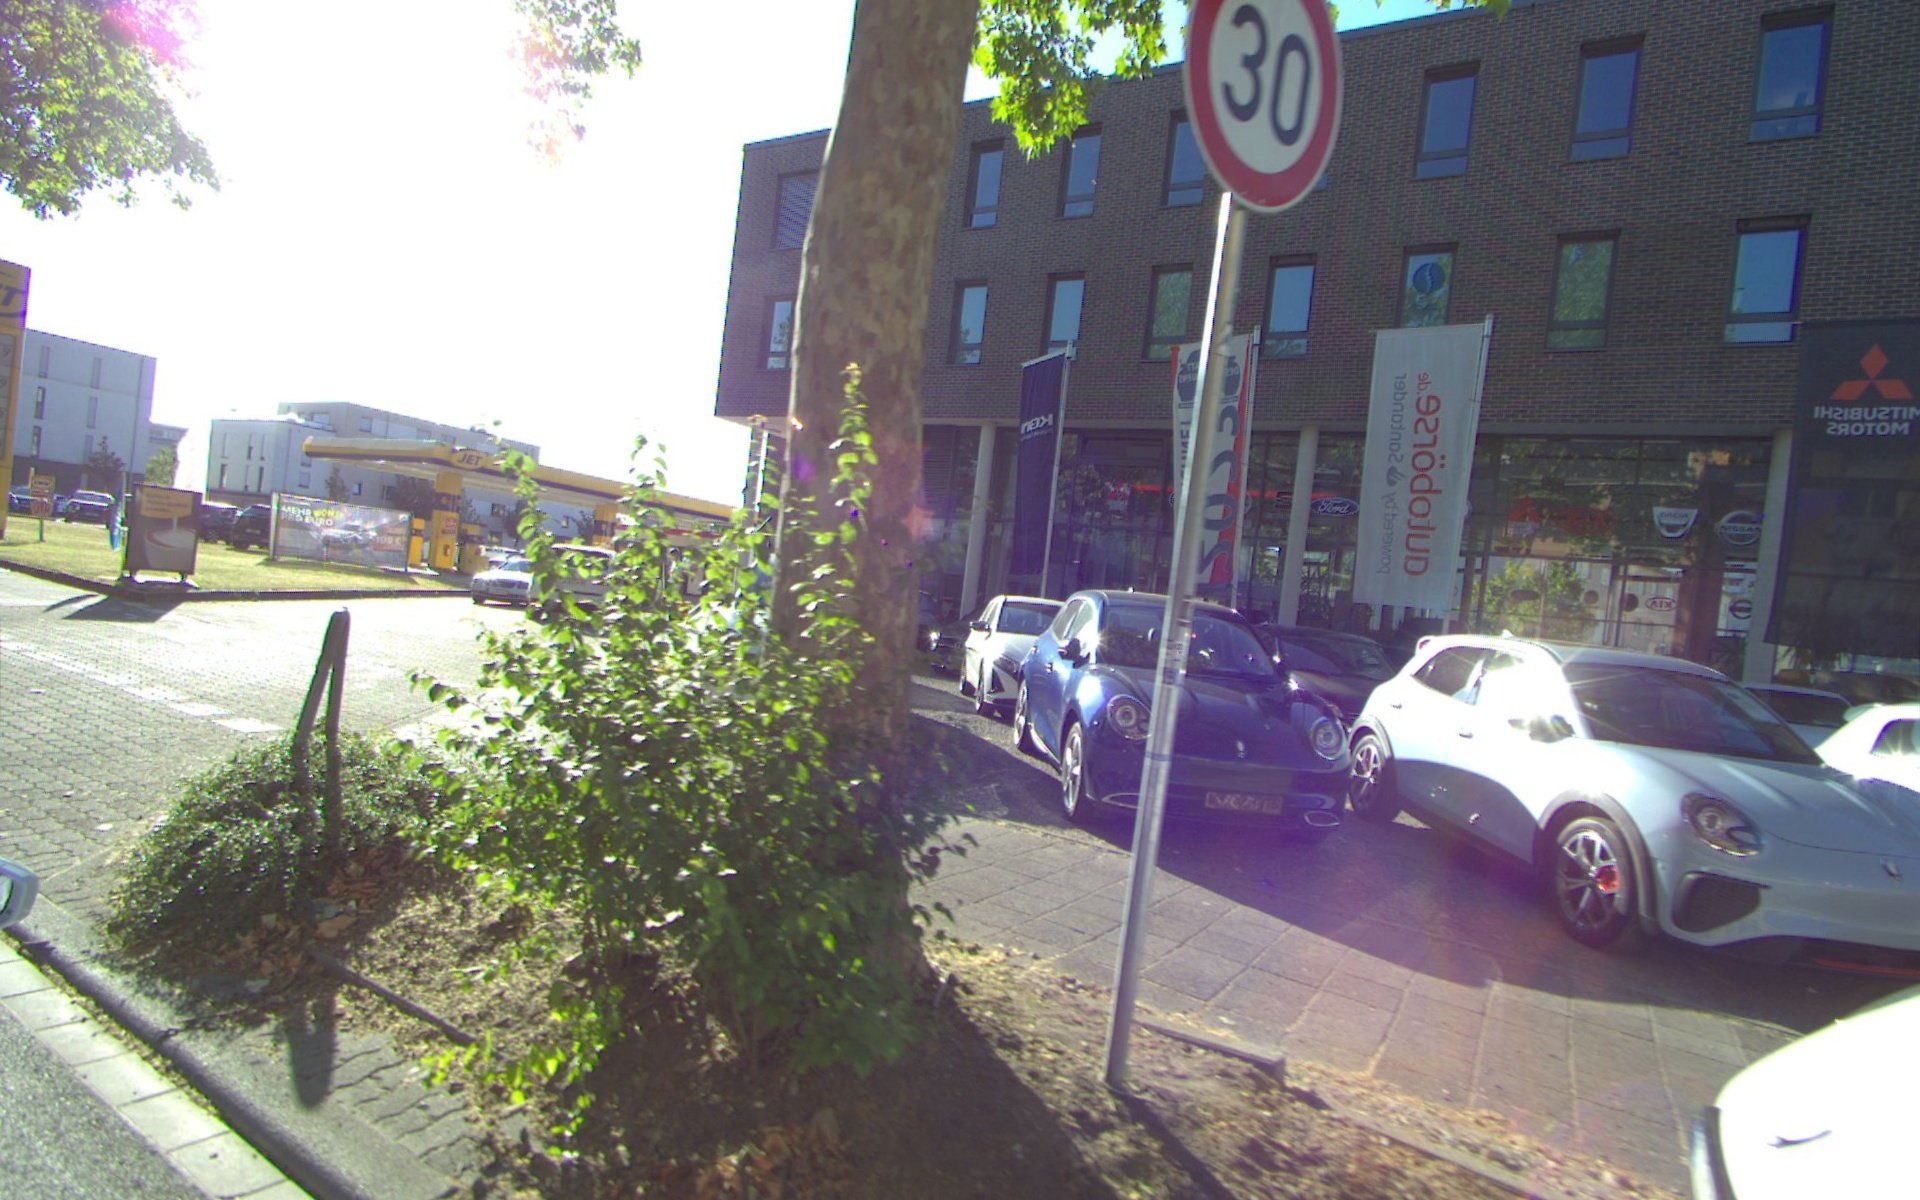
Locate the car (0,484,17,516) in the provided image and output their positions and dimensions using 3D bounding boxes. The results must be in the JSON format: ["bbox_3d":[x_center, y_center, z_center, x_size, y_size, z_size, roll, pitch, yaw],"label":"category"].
[{"bbox_3d":[-50.258,-5.318,50.391,1.777,1.547,3.994,5,-2,30],"label":"car"}]

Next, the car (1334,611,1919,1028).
[{"bbox_3d":[4.089,1.037,6.346,1.710,1.630,3.815,7,1,-3],"label":"car"}]

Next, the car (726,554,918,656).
[{"bbox_3d":[-3.083,0.104,22.606,3.931,1.774,1.862,7,1,-9],"label":"car"}]

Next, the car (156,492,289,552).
[{"bbox_3d":[-27.316,-2.849,37.423,1.806,1.733,3.838,7,0,5],"label":"car"}]

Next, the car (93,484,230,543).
[{"bbox_3d":[-31.433,-3.368,39.747,1.806,1.733,3.838,7,0,14],"label":"car"}]

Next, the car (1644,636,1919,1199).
[{"bbox_3d":[3.265,1.050,0.639,4.509,1.559,1.810,6,3,33],"label":"car"}]

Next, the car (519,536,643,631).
[{"bbox_3d":[-8.451,-0.390,22.789,2.128,1.741,3.986,6,1,-16],"label":"car"}]

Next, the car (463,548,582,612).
[{"bbox_3d":[-11.475,-0.477,26.614,1.659,1.339,3.564,6,-2,-4],"label":"car"}]

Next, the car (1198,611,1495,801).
[{"bbox_3d":[4.156,1.047,11.534,1.613,1.530,3.815,7,1,-3],"label":"car"}]

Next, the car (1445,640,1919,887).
[{"bbox_3d":[6.581,1.358,9.732,1.613,1.530,3.815,7,1,-3],"label":"car"}]

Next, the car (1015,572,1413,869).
[{"bbox_3d":[1.624,0.686,7.882,1.710,1.599,3.814,7,1,-5],"label":"car"}]

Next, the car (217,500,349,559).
[{"bbox_3d":[-23.604,-2.423,35.249,1.666,1.608,3.838,7,0,5],"label":"car"}]

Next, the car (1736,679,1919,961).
[{"bbox_3d":[6.563,1.449,5.396,1.632,1.564,3.818,7,0,-1],"label":"car"}]

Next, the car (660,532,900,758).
[{"bbox_3d":[-1.565,0.321,9.836,1.715,1.599,3.814,7,1,-5],"label":"car"}]

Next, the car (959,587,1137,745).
[{"bbox_3d":[0.966,0.700,12.938,1.613,1.530,3.815,7,1,-3],"label":"car"}]

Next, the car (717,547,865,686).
[{"bbox_3d":[-2.476,0.202,15.123,1.742,1.622,4.138,7,0,-8],"label":"car"}]

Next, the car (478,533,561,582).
[{"bbox_3d":[-23.277,-2.246,53.157,3.933,2.039,1.996,7,1,31],"label":"car"}]

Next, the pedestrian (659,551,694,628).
[{"bbox_3d":[-6.559,-0.242,23.330,0.547,1.699,0.648,6,1,-9],"label":"pedestrian"}]

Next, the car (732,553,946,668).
[{"bbox_3d":[-2.433,0.204,20.300,3.931,1.774,1.862,7,1,-9],"label":"car"}]
